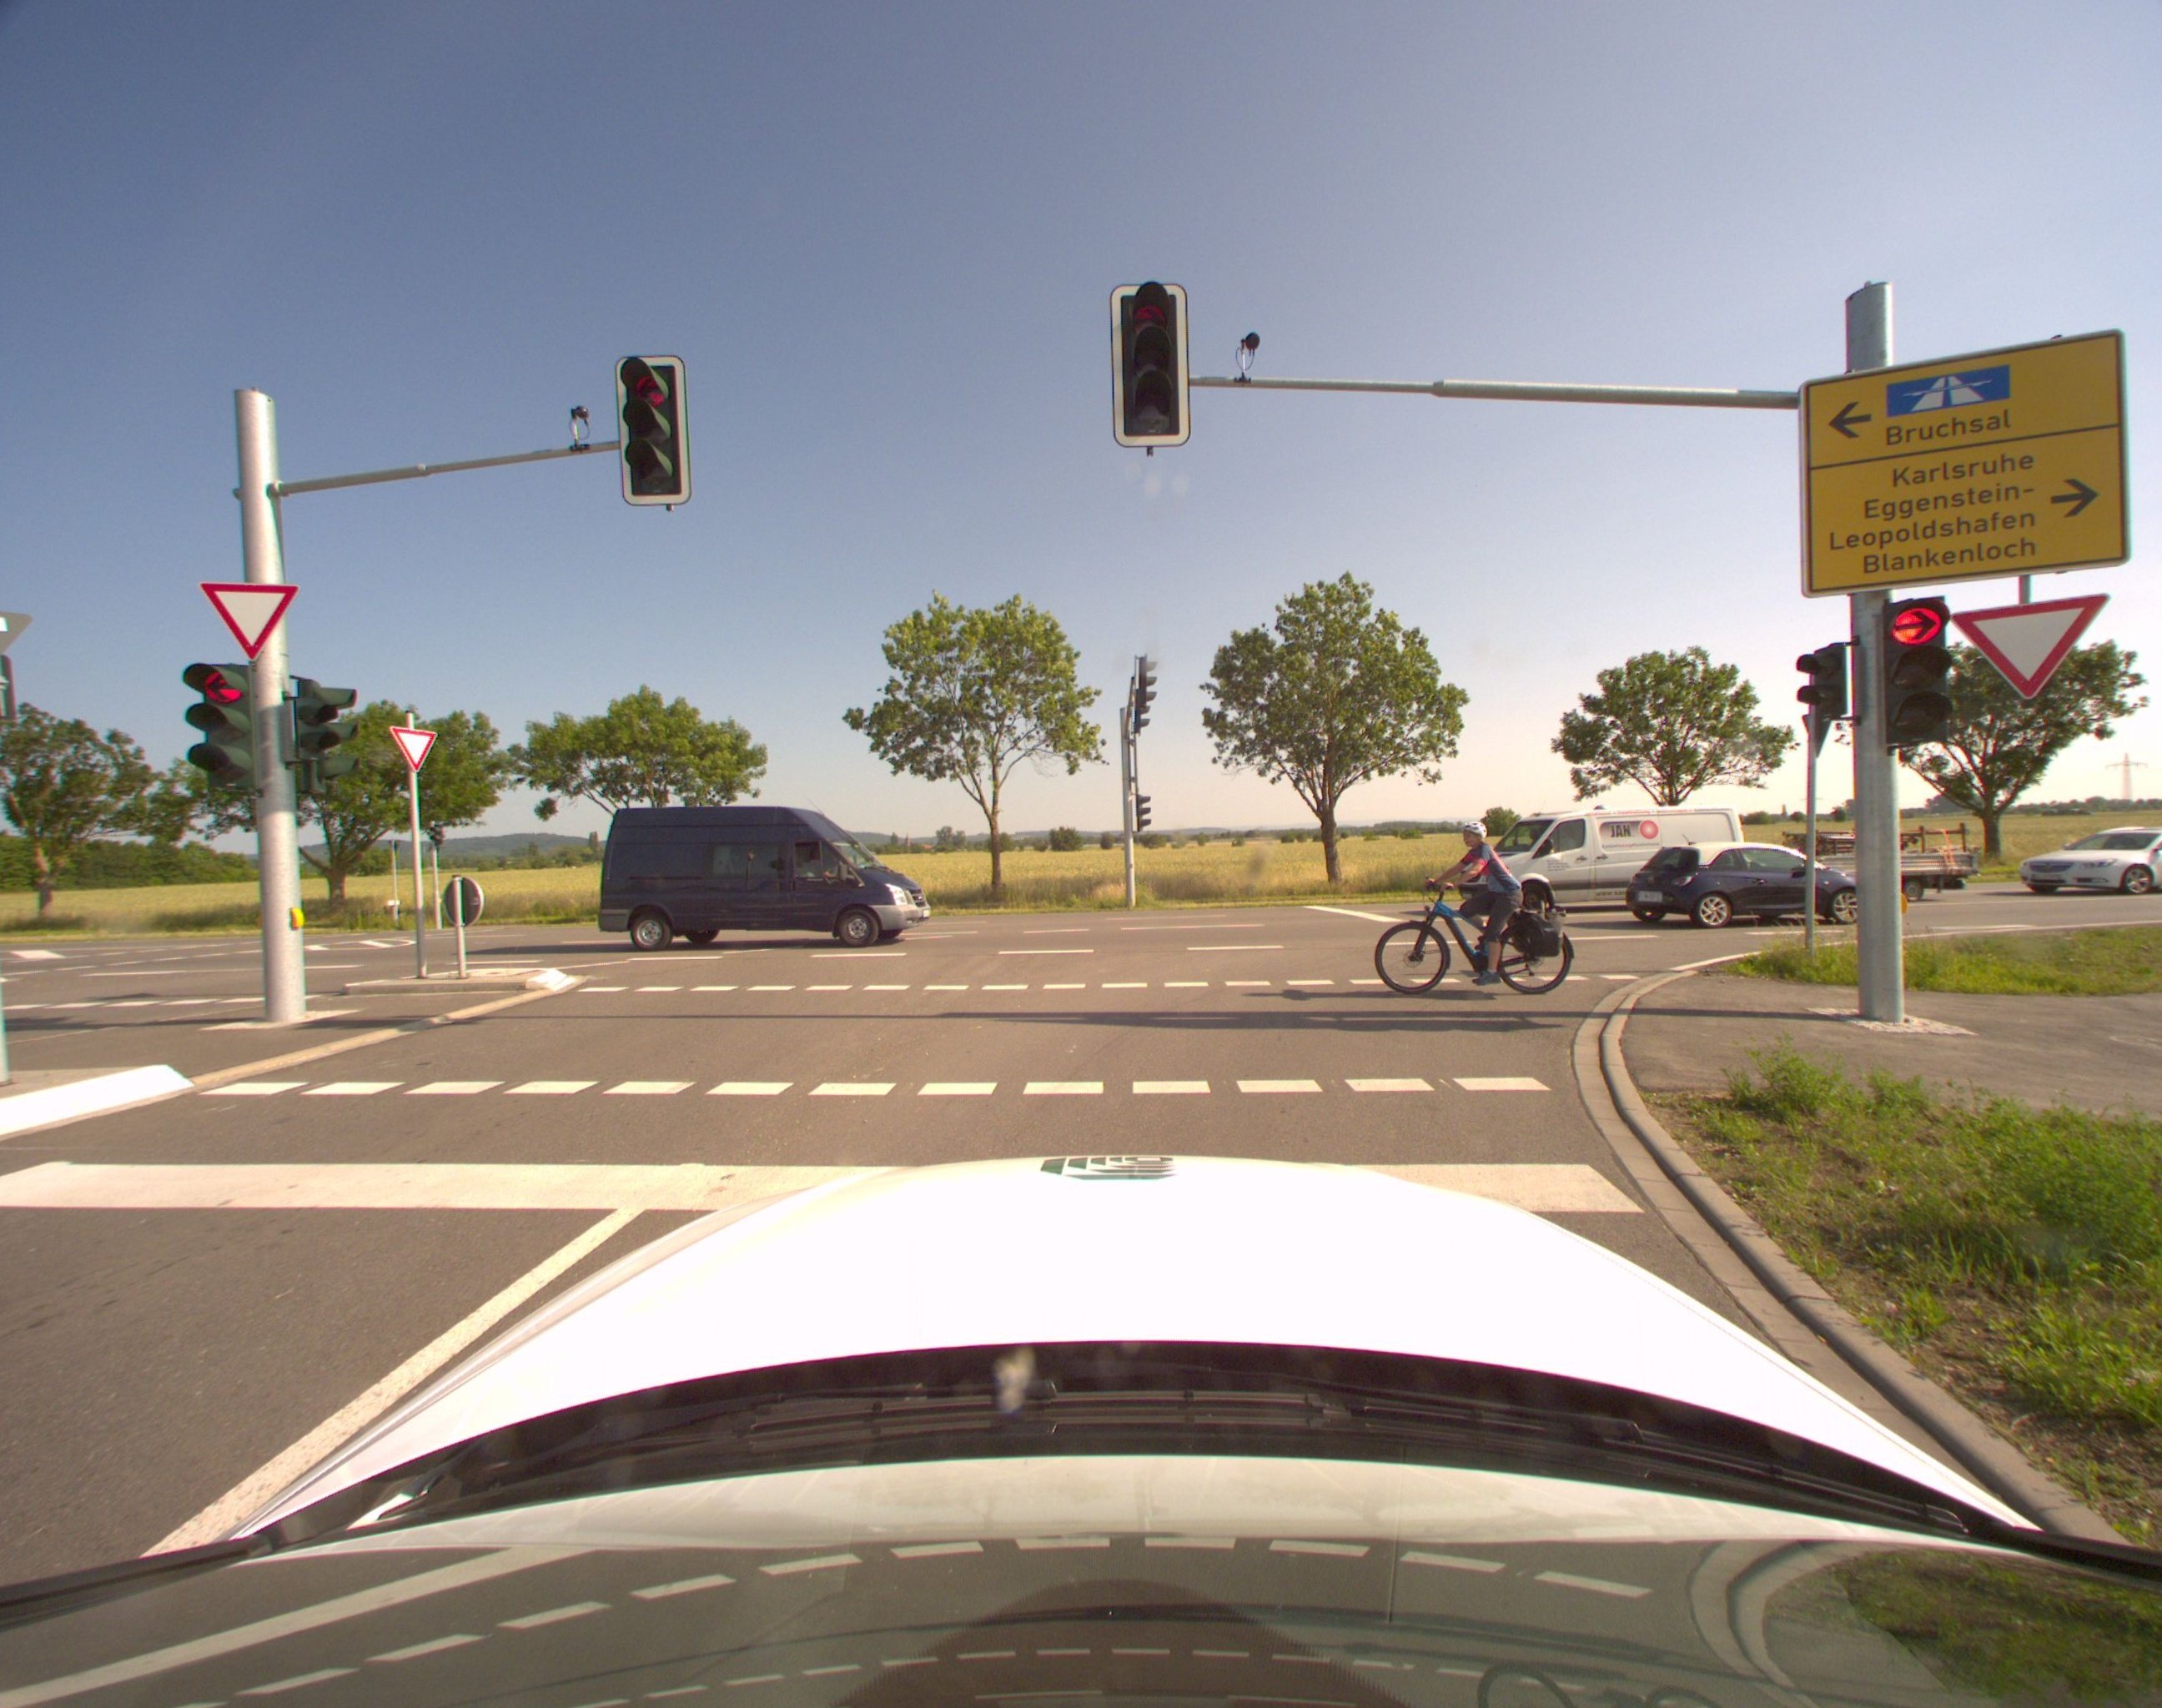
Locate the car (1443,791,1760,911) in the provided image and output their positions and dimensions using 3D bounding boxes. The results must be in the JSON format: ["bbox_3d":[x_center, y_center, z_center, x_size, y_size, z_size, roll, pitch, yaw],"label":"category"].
[{"bbox_3d":[11.675,-0.058,18.557,5.938,2.493,1.999,-1,-1,-1],"label":"car"}]

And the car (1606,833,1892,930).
[{"bbox_3d":[11.805,0.455,14.559,3.717,1.457,1.728,-3,1,-2],"label":"car"}]

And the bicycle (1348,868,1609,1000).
[{"bbox_3d":[3.899,0.760,8.131,2.149,1.186,0.890,-1,-1,-1],"label":"bicycle"}]

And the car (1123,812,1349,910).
[{"bbox_3d":[4.252,0.186,23.047,5.880,2.577,2.389,0,-1,-5],"label":"car"}]

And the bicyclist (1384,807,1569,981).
[{"bbox_3d":[3.941,0.362,8.238,1.276,1.601,1.164,-1,1,-3],"label":"bicyclist"}]

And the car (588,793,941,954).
[{"bbox_3d":[-5.718,0.364,15.185,5.708,2.622,2.035,-2,-1,2],"label":"car"}]

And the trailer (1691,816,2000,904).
[{"bbox_3d":[17.333,0.134,18.650,5.245,1.753,1.953,-2,0,-1],"label":"trailer"}]

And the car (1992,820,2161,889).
[{"bbox_3d":[24.666,0.011,18.985,4.858,1.510,1.997,0,-1,-4],"label":"car"}]
